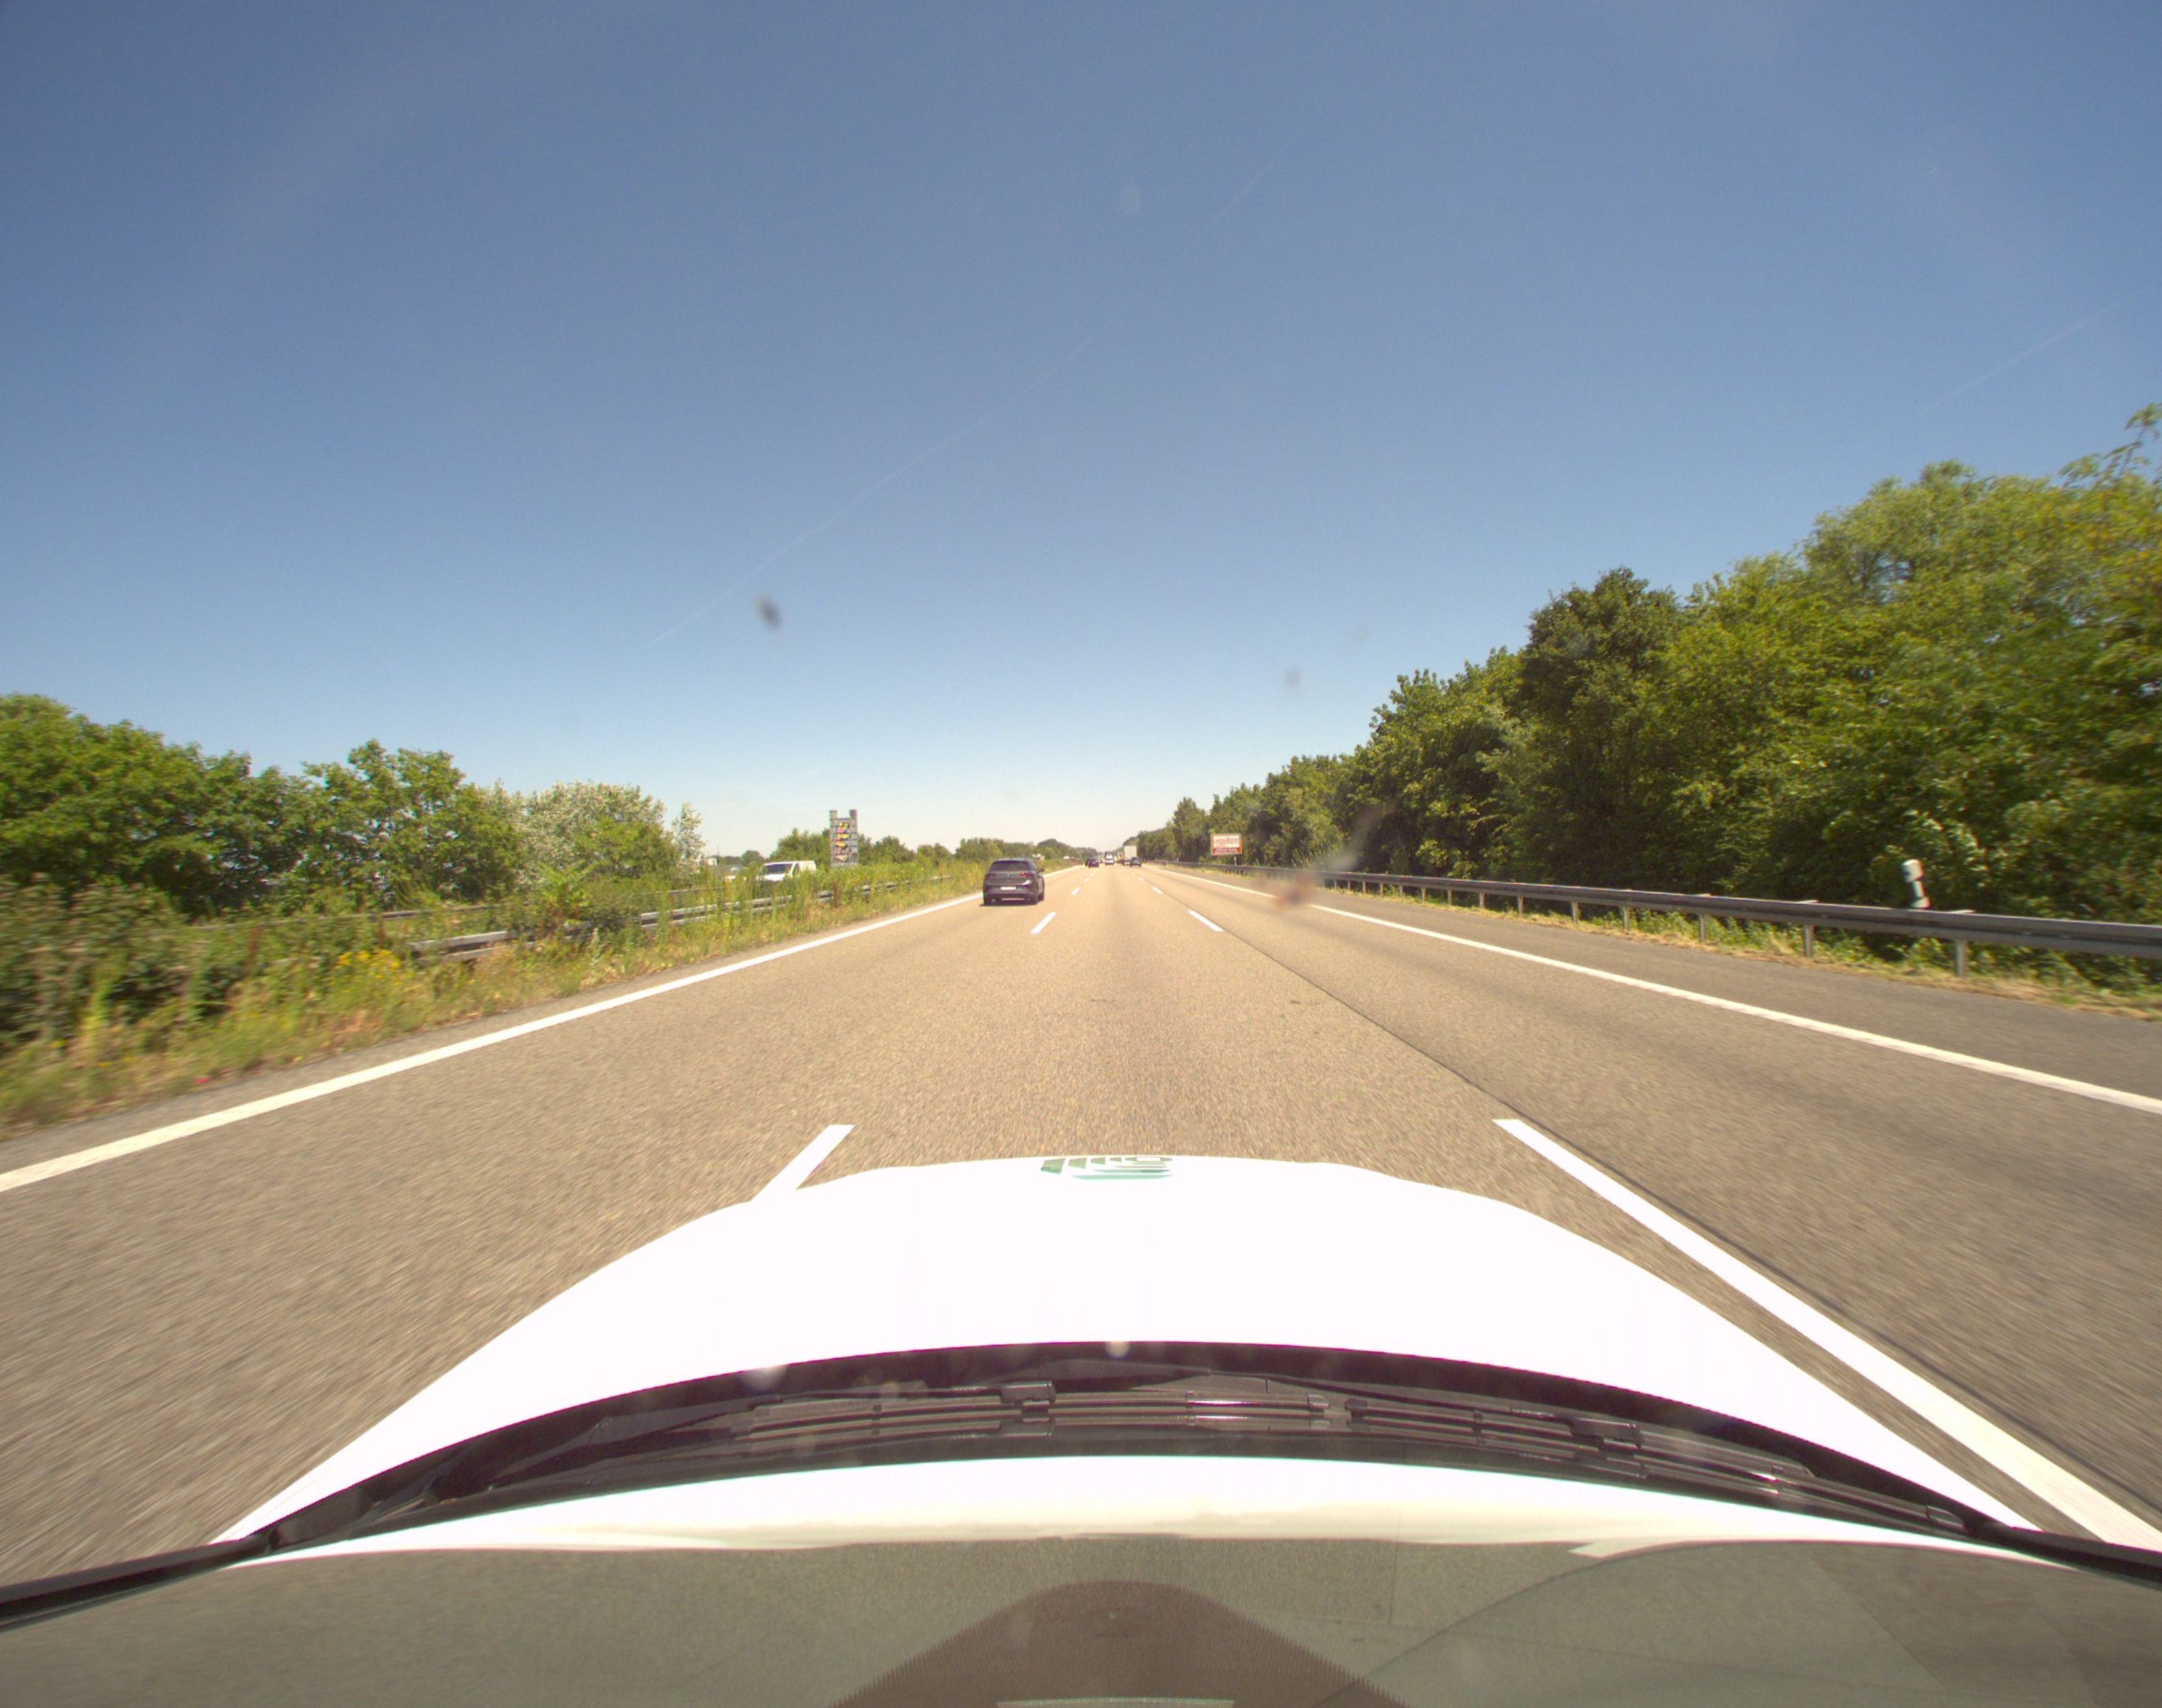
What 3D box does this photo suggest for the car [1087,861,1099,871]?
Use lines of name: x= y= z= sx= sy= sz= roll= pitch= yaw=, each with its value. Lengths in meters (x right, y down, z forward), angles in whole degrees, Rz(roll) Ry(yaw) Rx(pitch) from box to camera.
car: x=1.872 y=1.814 z=126.437 sx=1.893 sy=1.531 sz=4.086 roll=0 pitch=0 yaw=2

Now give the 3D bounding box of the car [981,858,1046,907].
car: x=-2.242 y=0.923 z=28.046 sx=1.752 sy=1.531 sz=4.287 roll=0 pitch=0 yaw=2

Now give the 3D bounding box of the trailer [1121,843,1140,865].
trailer: x=10.008 y=0.108 z=166.161 sx=3.421 sy=4.181 sz=13.638 roll=0 pitch=-1 yaw=2

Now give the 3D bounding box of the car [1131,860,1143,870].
car: x=9.201 y=1.790 z=133.417 sx=1.838 sy=1.629 sz=4.137 roll=-2 pitch=-1 yaw=2

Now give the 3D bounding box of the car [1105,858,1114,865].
car: x=6.010 y=1.588 z=171.098 sx=1.893 sy=1.531 sz=4.086 roll=0 pitch=0 yaw=2

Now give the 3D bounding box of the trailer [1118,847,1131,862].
trailer: x=12.214 y=0.174 z=228.483 sx=3.111 sy=3.926 sz=9.937 roll=0 pitch=0 yaw=1

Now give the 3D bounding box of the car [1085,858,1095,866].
car: x=1.747 y=1.669 z=163.403 sx=1.900 sy=1.531 sz=4.287 roll=0 pitch=0 yaw=2

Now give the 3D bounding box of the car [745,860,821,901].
car: x=-15.731 y=1.341 z=43.351 sx=1.986 sy=1.990 sz=5.274 roll=0 pitch=0 yaw=2
